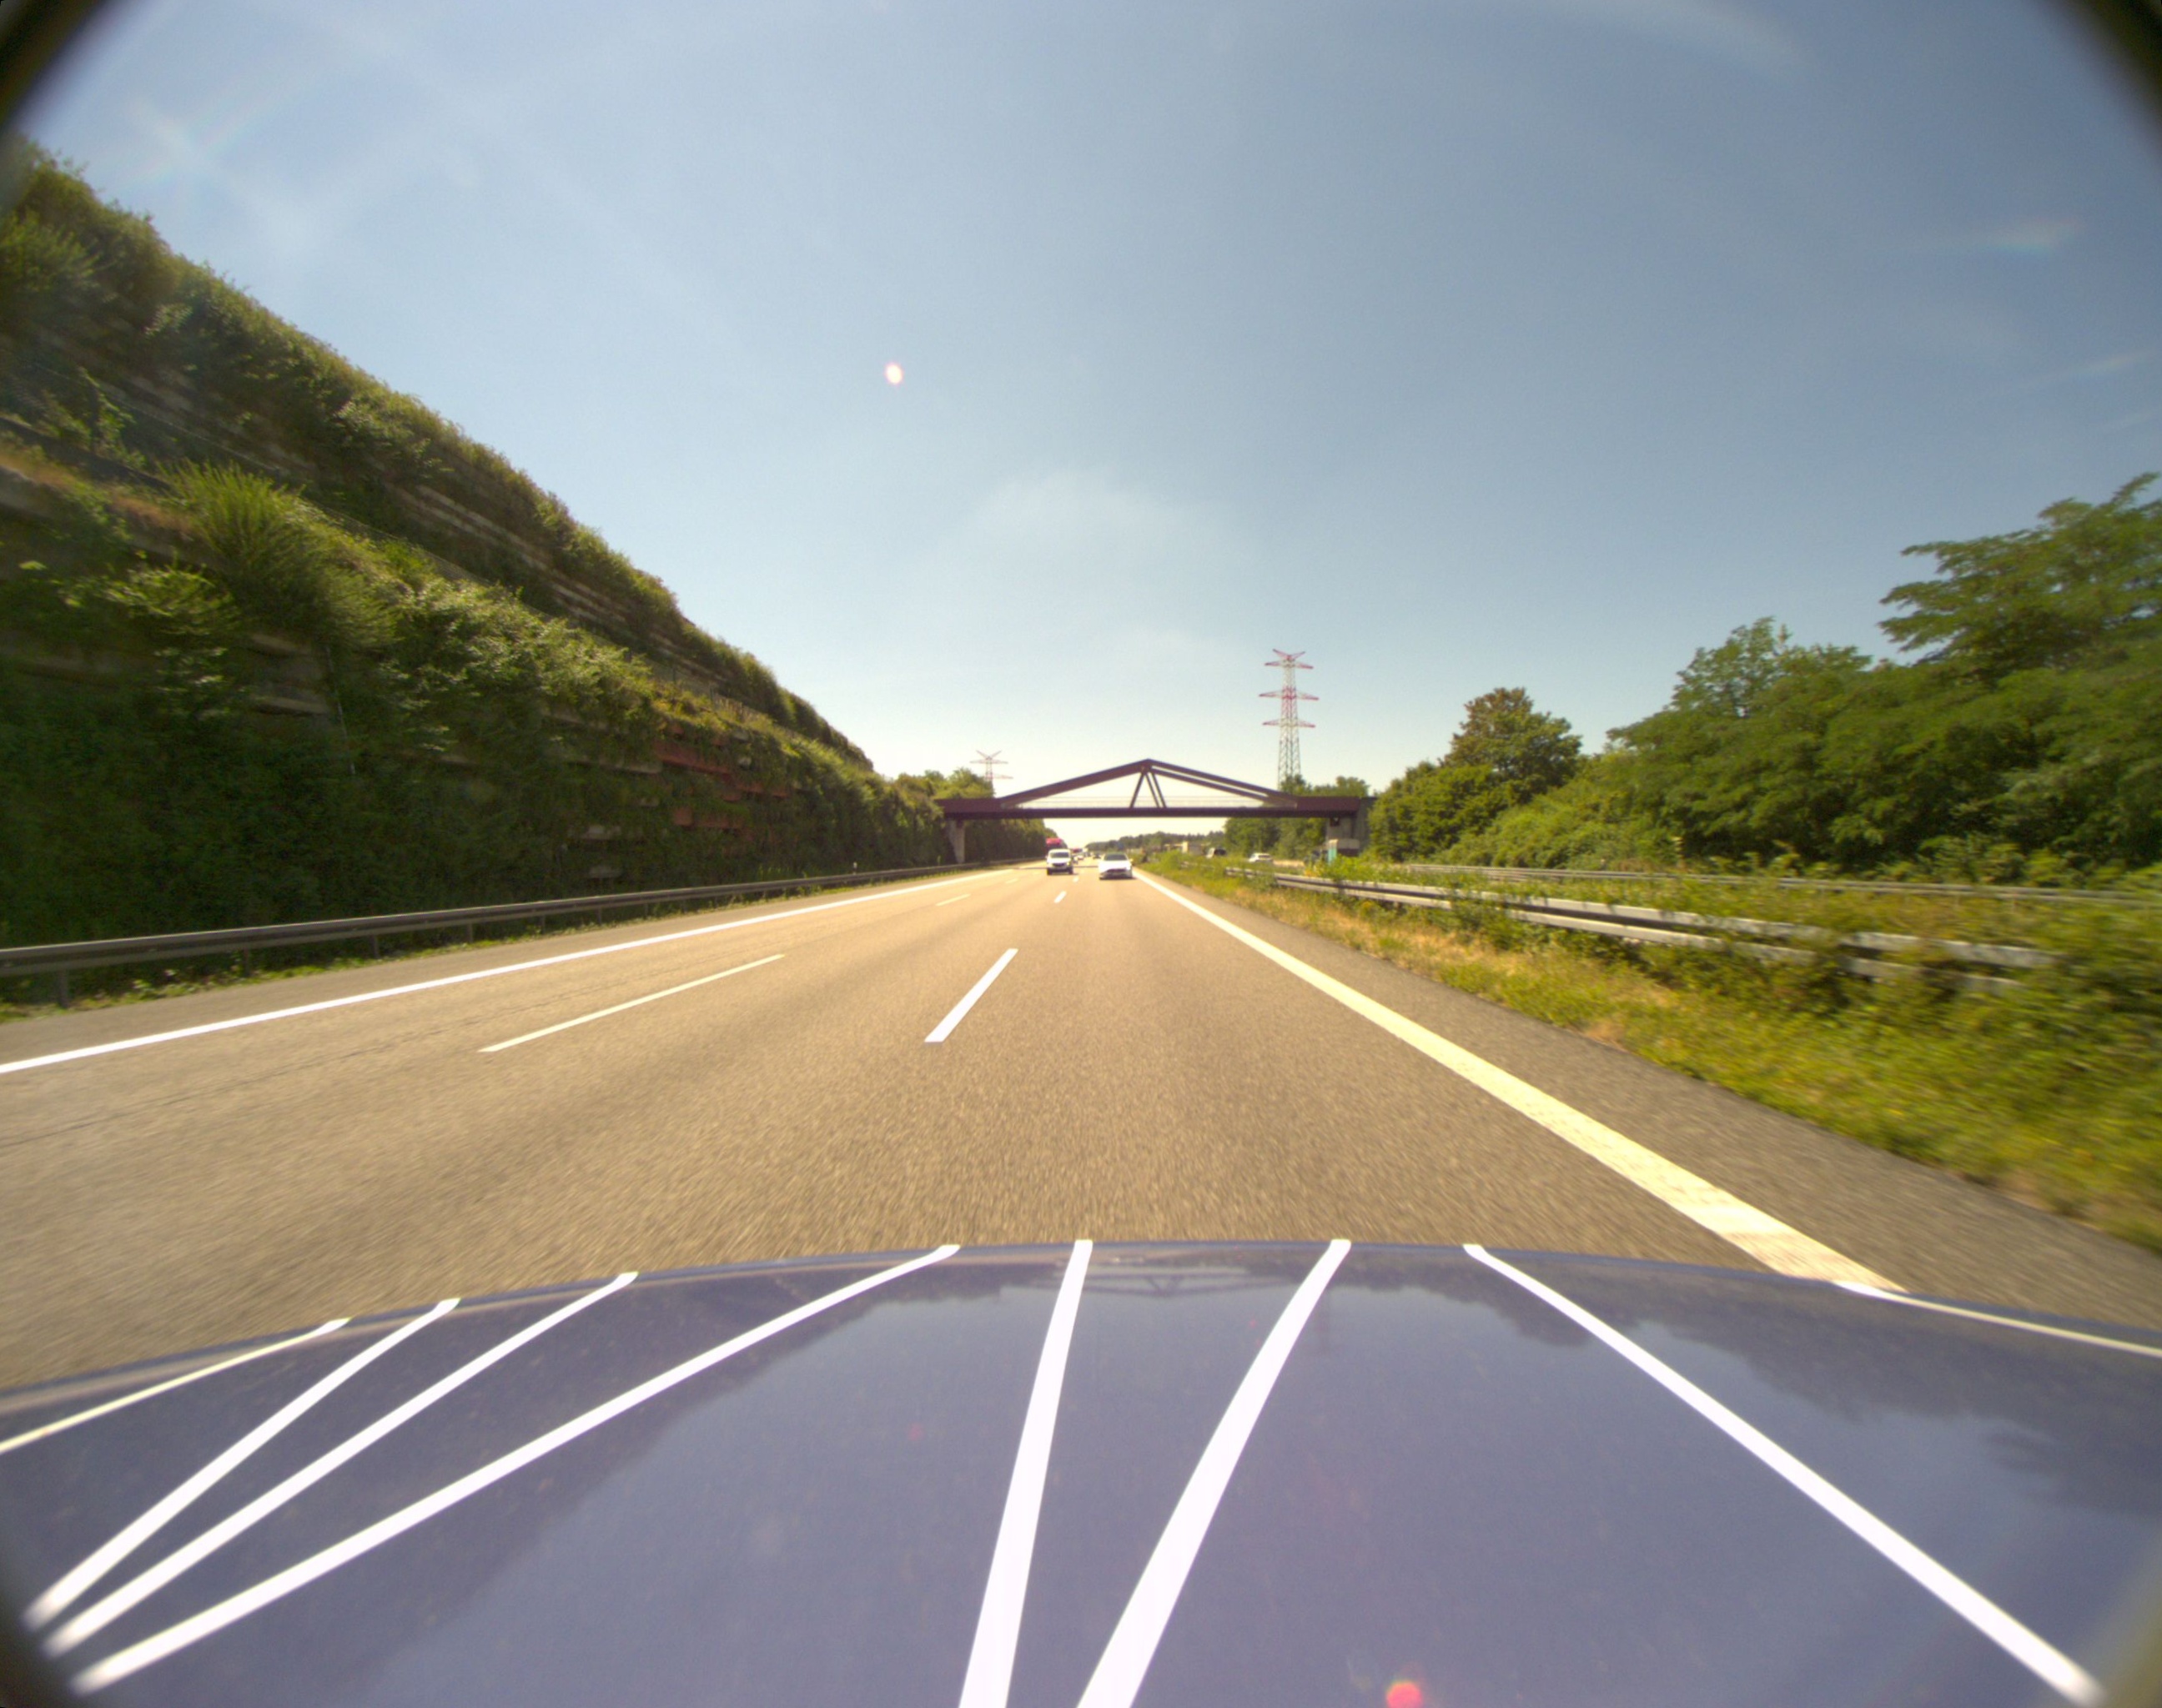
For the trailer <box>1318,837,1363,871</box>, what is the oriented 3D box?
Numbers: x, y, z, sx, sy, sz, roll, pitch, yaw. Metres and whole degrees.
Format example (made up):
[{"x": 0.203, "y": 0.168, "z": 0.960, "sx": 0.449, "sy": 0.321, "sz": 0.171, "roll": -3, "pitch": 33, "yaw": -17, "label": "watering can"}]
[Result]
[{"x": 19.803, "y": -0.016, "z": 58.171, "sx": 1.998, "sy": 2.504, "sz": 4.183, "roll": 0, "pitch": 1, "yaw": 1, "label": "trailer"}]

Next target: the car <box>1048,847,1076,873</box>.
[{"x": -1.326, "y": 0.403, "z": 54.938, "sx": 1.784, "sy": 1.783, "sz": 4.000, "roll": -2, "pitch": 0, "yaw": 1, "label": "car"}]

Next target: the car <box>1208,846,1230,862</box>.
[{"x": 16.308, "y": -0.029, "z": 90.177, "sx": 1.892, "sy": 1.833, "sz": 4.000, "roll": 0, "pitch": 1, "yaw": 1, "label": "car"}]

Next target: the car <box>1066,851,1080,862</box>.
[{"x": -1.098, "y": 0.347, "z": 103.640, "sx": 1.784, "sy": 1.475, "sz": 4.000, "roll": -2, "pitch": 0, "yaw": 1, "label": "car"}]

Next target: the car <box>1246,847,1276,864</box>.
[{"x": 16.082, "y": 0.127, "z": 68.170, "sx": 1.756, "sy": 1.427, "sz": 4.000, "roll": 0, "pitch": 0, "yaw": 1, "label": "car"}]

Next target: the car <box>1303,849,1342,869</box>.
[{"x": 19.715, "y": 0.398, "z": 62.183, "sx": 1.892, "sy": 1.622, "sz": 4.000, "roll": 0, "pitch": 0, "yaw": 1, "label": "car"}]

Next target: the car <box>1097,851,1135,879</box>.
[{"x": 1.905, "y": 0.588, "z": 42.668, "sx": 1.998, "sy": 1.474, "sz": 4.108, "roll": 0, "pitch": 0, "yaw": 1, "label": "car"}]

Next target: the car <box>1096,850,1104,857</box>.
[{"x": 4.244, "y": -0.151, "z": 172.571, "sx": 1.784, "sy": 1.475, "sz": 4.000, "roll": 0, "pitch": 0, "yaw": 1, "label": "car"}]

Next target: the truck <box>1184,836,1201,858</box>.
[{"x": 21.448, "y": -1.339, "z": 146.028, "sx": 2.443, "sy": 4.203, "sz": 5.594, "roll": 0, "pitch": 1, "yaw": 0, "label": "truck"}]

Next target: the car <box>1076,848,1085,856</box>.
[{"x": -0.071, "y": -0.448, "z": 152.119, "sx": 1.784, "sy": 1.475, "sz": 4.000, "roll": -2, "pitch": 0, "yaw": 1, "label": "car"}]
